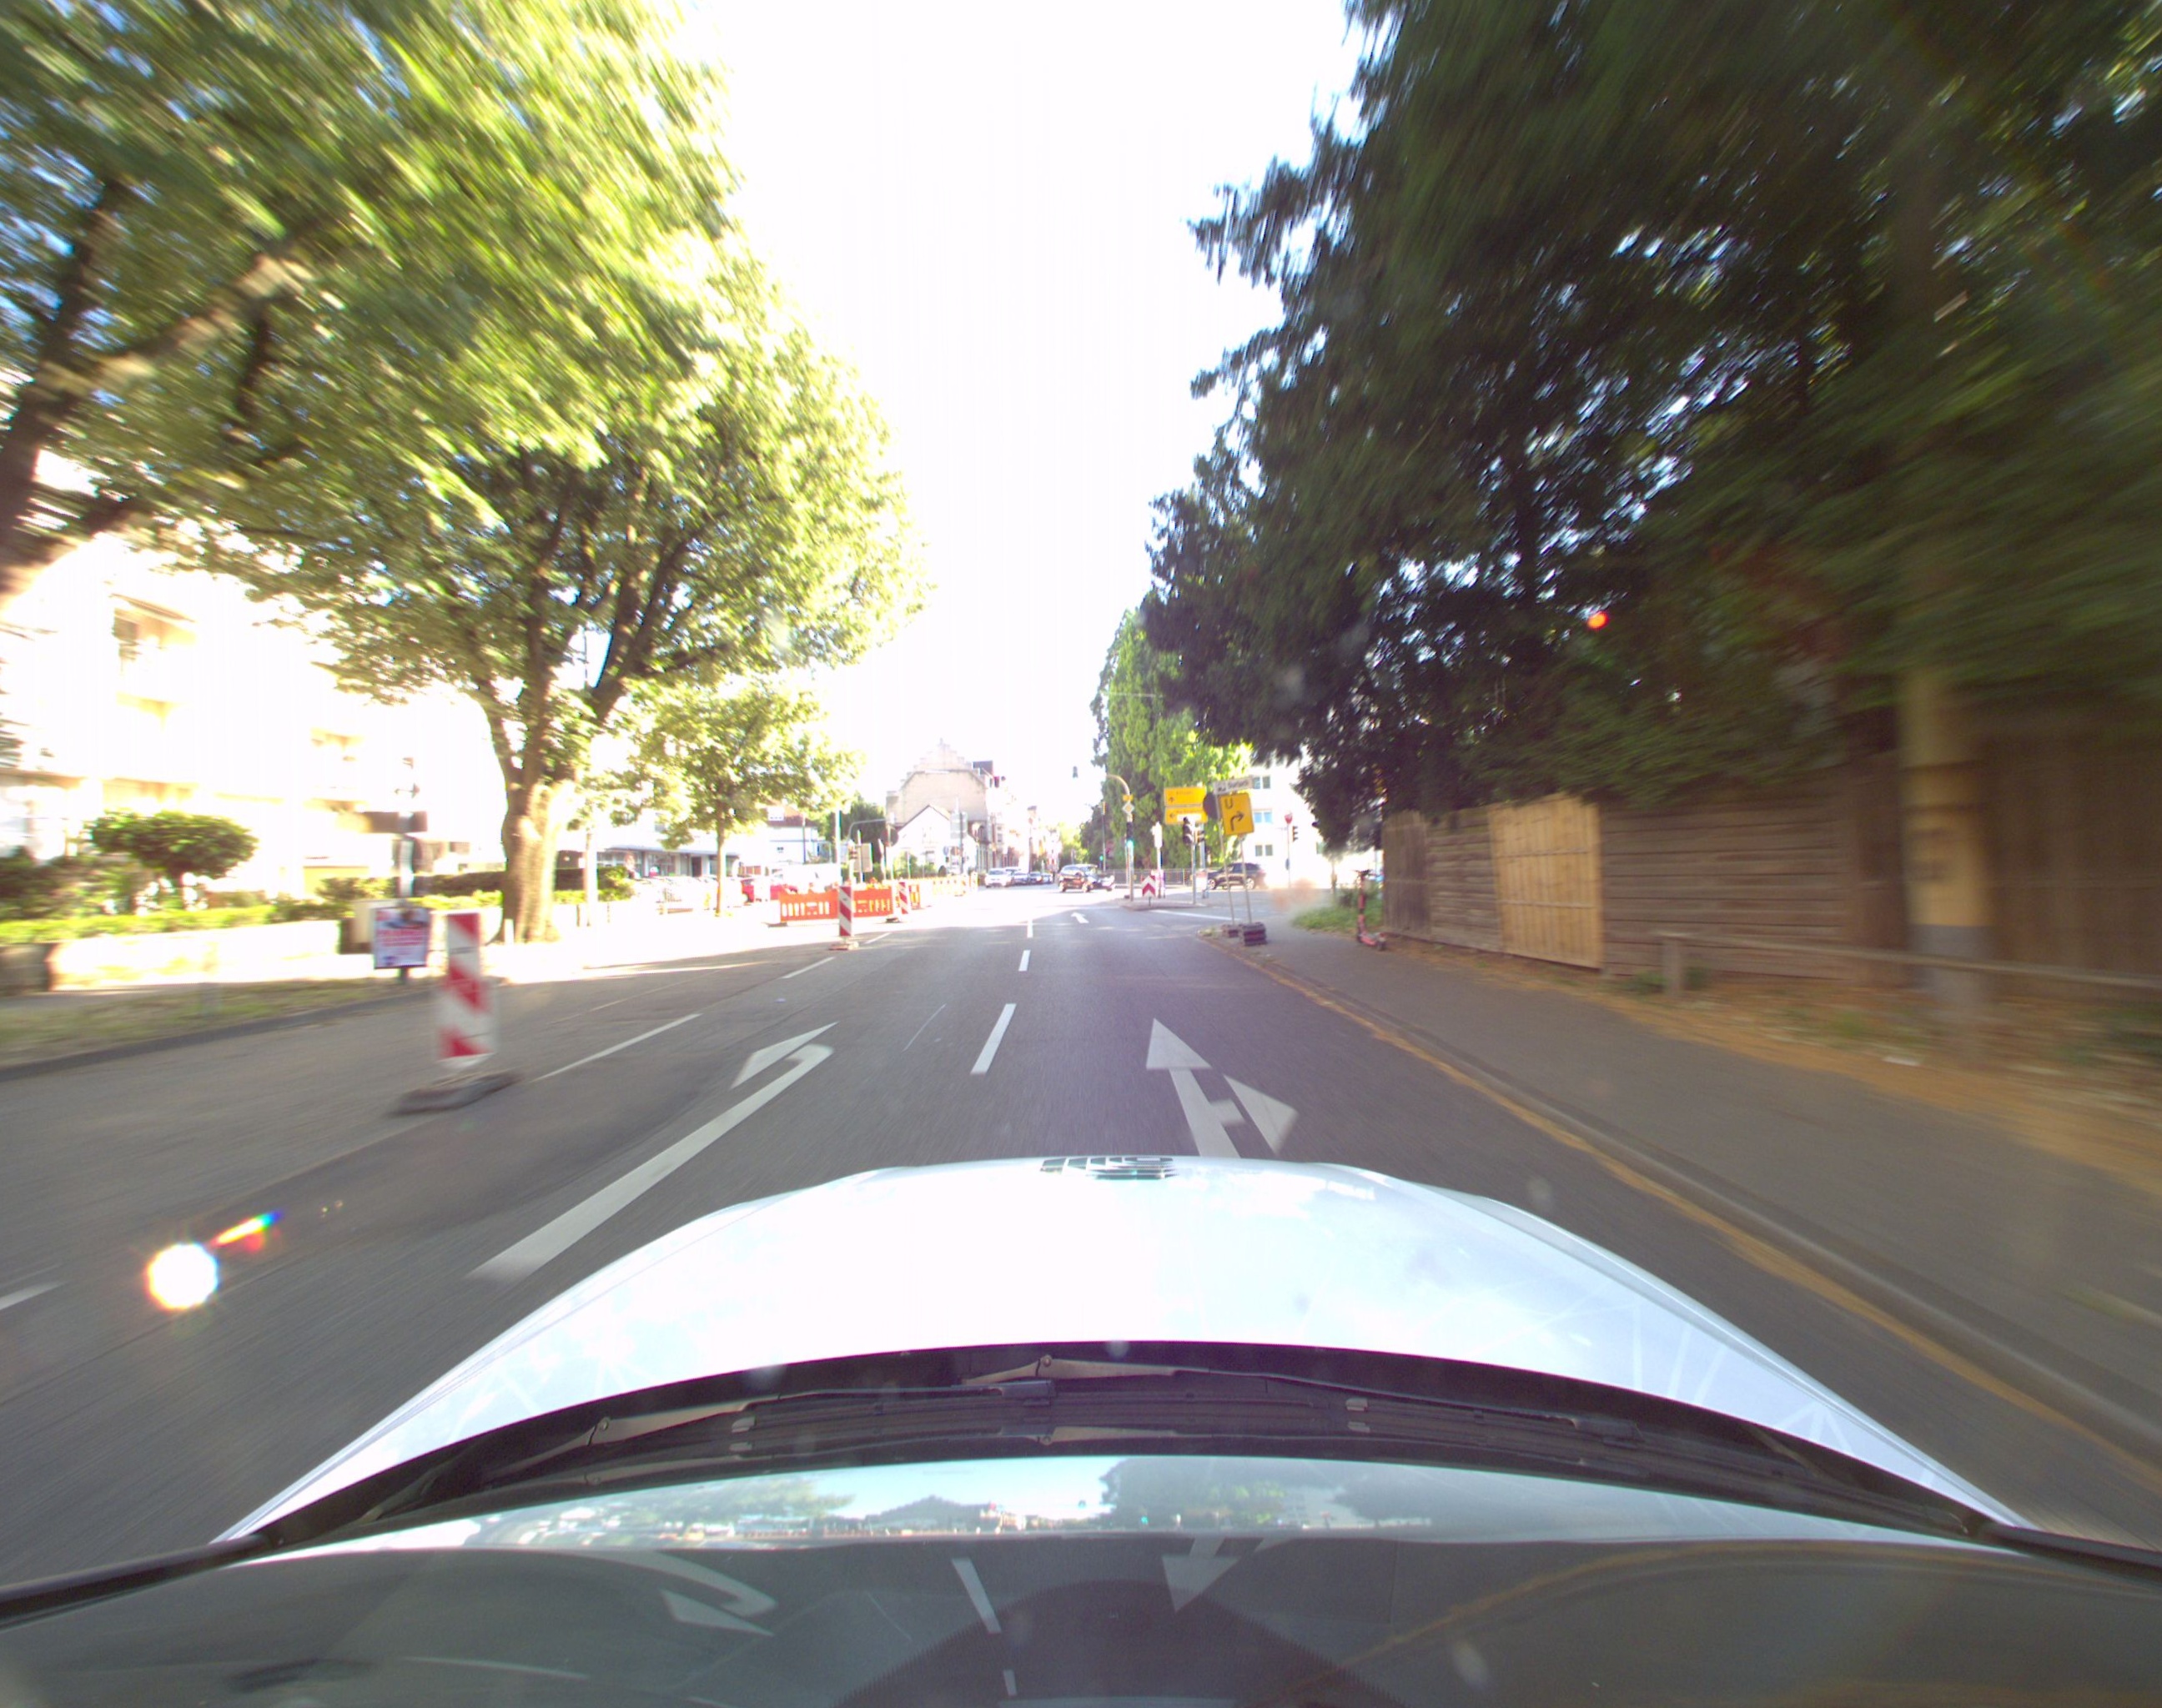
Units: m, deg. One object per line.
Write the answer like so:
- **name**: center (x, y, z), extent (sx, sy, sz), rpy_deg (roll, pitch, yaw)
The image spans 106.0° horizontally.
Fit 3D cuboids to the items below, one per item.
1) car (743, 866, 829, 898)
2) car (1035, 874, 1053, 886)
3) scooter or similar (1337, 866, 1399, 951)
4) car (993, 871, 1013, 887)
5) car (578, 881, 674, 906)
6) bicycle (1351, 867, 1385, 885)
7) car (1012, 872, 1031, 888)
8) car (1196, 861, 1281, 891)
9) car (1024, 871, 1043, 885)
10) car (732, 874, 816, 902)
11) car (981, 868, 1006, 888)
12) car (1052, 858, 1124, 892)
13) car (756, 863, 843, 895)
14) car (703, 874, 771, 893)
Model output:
- **car**: center (-17.390, 1.657, 48.121), extent (4.298, 1.852, 2.000), rpy_deg (0, -2, 1)
- **car**: center (-5.206, 3.631, 114.920), extent (1.944, 1.649, 4.289), rpy_deg (0, -2, 5)
- **scooter or similar**: center (4.350, 0.799, 12.409), extent (0.436, 1.202, 1.259), rpy_deg (-4, -2, 2)
- **car**: center (-7.312, 2.333, 76.321), extent (1.772, 1.480, 4.089), rpy_deg (0, -1, -5)
- **car**: center (-25.780, 2.230, 46.249), extent (4.299, 1.399, 2.000), rpy_deg (0, -2, 0)
- **bicycle**: center (17.815, 1.350, 50.513), extent (1.898, 1.068, 0.619), rpy_deg (-1, -2, 39)
- **car**: center (-6.391, 2.784, 88.051), extent (1.770, 1.649, 4.533), rpy_deg (0, -1, 0)
- **car**: center (9.422, 1.343, 48.925), extent (4.605, 1.671, 2.011), rpy_deg (-2, -5, 43)
- **car**: center (-5.940, 3.002, 101.742), extent (1.946, 1.649, 4.285), rpy_deg (0, -1, 2)
- **car**: center (-17.135, 1.882, 45.588), extent (3.986, 1.479, 1.995), rpy_deg (0, -2, -6)
- **car**: center (-7.173, 1.954, 66.809), extent (1.776, 1.543, 3.985), rpy_deg (0, -2, -10)
- **car**: center (0.382, 1.224, 47.960), extent (2.010, 1.815, 4.203), rpy_deg (-3, 1, -37)
- **car**: center (-17.569, 1.577, 51.006), extent (4.658, 1.965, 2.114), rpy_deg (0, -2, -4)
- **car**: center (-26.024, 2.239, 61.688), extent (4.285, 1.399, 2.006), rpy_deg (0, -2, 11)
